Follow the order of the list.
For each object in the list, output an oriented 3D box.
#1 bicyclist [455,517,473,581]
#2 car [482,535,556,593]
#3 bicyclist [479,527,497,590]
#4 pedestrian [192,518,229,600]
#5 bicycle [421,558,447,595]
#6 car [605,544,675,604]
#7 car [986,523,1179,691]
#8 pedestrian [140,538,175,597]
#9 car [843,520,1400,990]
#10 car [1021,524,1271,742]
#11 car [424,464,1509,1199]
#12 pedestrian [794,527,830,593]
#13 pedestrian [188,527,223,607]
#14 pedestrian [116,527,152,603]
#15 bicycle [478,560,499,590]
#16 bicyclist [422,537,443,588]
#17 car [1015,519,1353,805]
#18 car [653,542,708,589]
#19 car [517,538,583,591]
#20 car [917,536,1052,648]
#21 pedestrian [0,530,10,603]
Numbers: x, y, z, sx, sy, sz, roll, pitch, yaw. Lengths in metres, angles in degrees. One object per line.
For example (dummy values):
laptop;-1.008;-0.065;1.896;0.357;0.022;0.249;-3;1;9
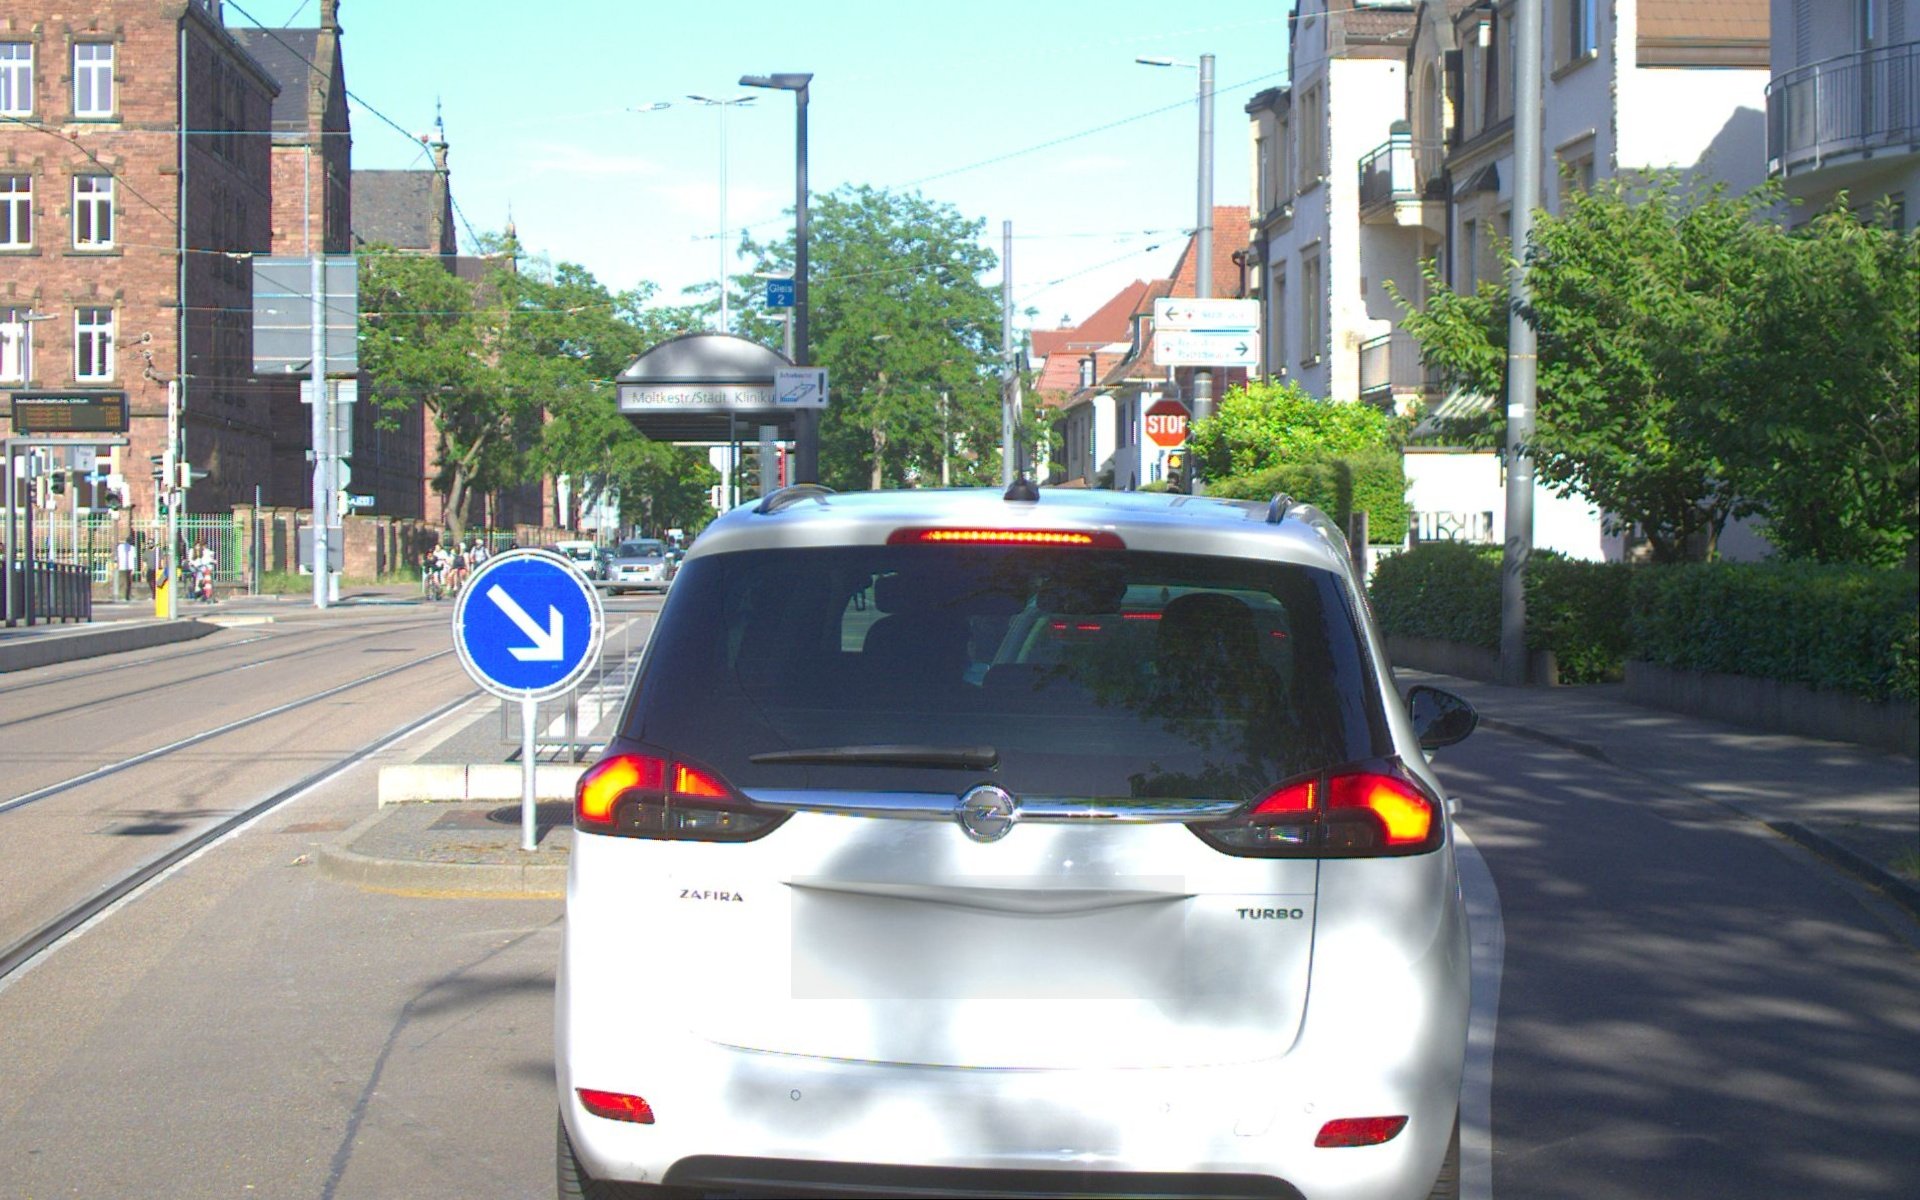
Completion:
bicyclist;-15.691;-1.622;108.755;0.498;2.007;0.572;0;1;-1
car;-13.389;-1.103;104.496;1.746;1.710;4.000;1;1;-1
bicyclist;-15.289;-1.342;111.450;0.488;2.007;0.502;1;0;-1
pedestrian;-18.525;-1.010;84.974;0.794;2.007;0.721;1;0;-17
bicycle;-15.501;-0.704;101.404;0.509;1.073;1.739;1;1;-1
car;-9.586;-0.784;103.052;1.746;1.710;4.000;1;1;-1
car;1.241;0.032;36.108;1.907;1.656;4.000;0;1;1
pedestrian;-22.016;-0.898;94.267;0.654;1.606;0.710;1;0;16
car;0.778;0.488;13.772;1.907;1.592;3.999;0;1;7
car;1.564;0.213;28.271;1.907;1.656;4.000;0;1;4
car;0.225;0.555;8.005;1.907;1.656;3.999;0;1;7
pedestrian;-4.327;-1.169;100.410;0.741;1.894;0.811;1;0;-27
pedestrian;-19.179;-0.832;87.348;0.794;2.007;1.047;1;0;-15
pedestrian;-21.891;-0.936;91.068;0.691;2.007;0.616;1;1;41
bicycle;-15.292;-0.813;111.475;0.487;0.968;1.405;1;0;0
bicyclist;-15.547;-1.109;101.347;0.531;1.472;0.572;1;0;-1
car;1.500;0.315;21.611;1.907;1.619;3.999;0;1;7
car;-10.482;-1.305;129.068;1.746;1.710;4.000;1;1;-1
car;-13.548;-1.165;113.711;1.746;1.710;4.000;1;1;-1
car;0.338;-0.154;53.086;1.907;1.656;4.001;0;1;-2
pedestrian;-23.755;-0.830;84.409;0.766;1.768;0.721;1;0;-17
